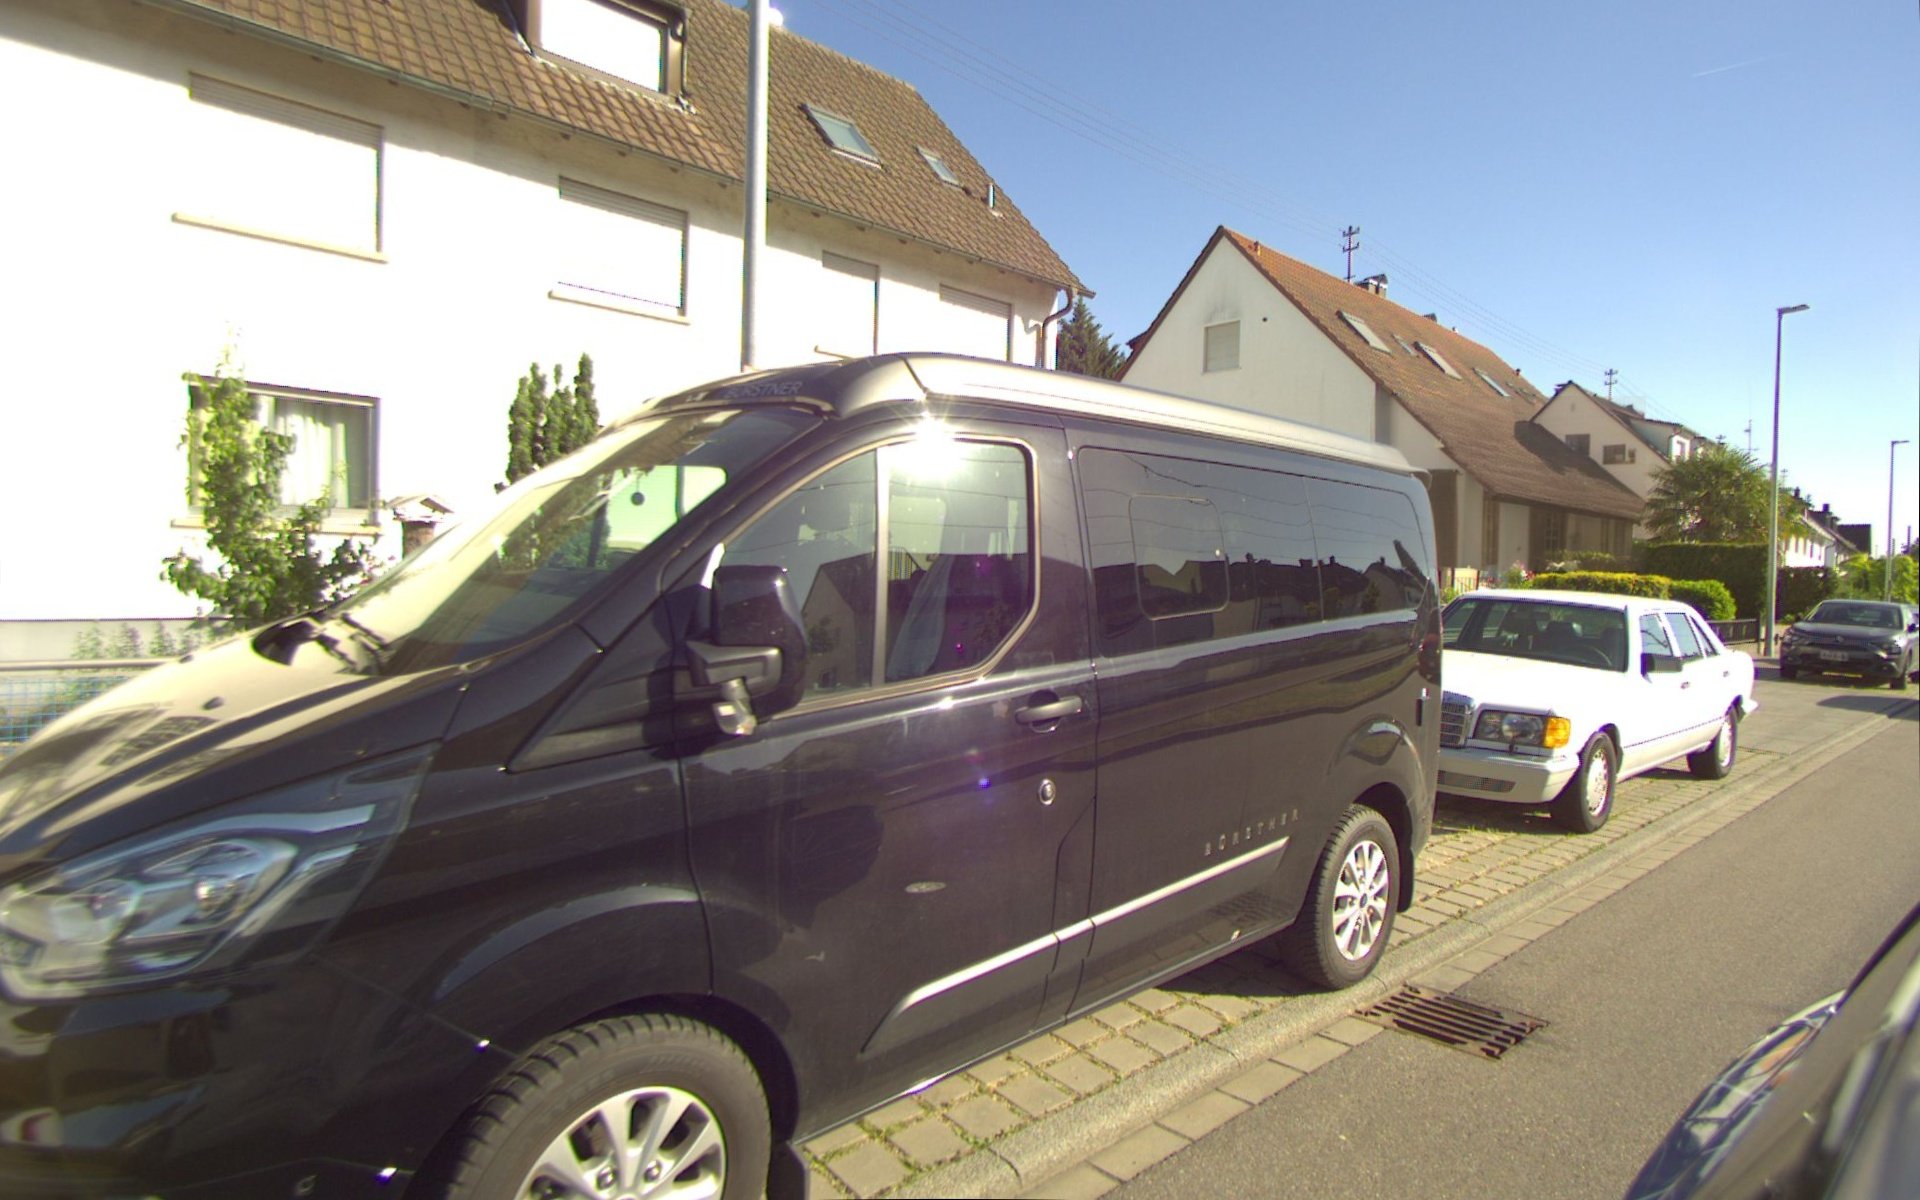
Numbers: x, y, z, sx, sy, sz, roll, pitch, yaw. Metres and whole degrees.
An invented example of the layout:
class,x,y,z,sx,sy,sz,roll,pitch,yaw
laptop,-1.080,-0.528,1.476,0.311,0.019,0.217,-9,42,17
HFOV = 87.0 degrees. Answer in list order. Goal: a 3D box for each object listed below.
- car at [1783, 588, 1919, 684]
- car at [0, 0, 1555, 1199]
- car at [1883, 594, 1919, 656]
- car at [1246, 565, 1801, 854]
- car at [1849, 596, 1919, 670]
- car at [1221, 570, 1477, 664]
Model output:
class,x,y,z,sx,sy,sz,roll,pitch,yaw
car,17.110,0.606,18.962,4.644,1.517,1.781,1,2,-40
car,0.017,0.284,3.570,5.242,2.170,1.964,0,3,-41
car,26.995,0.684,27.870,4.841,1.578,1.809,0,3,-42
car,4.664,0.584,7.875,5.513,1.461,1.858,1,4,-40
car,21.266,0.738,22.462,4.617,1.465,1.751,2,2,-42
car,7.883,0.255,20.788,2.160,1.675,4.419,0,2,-44
